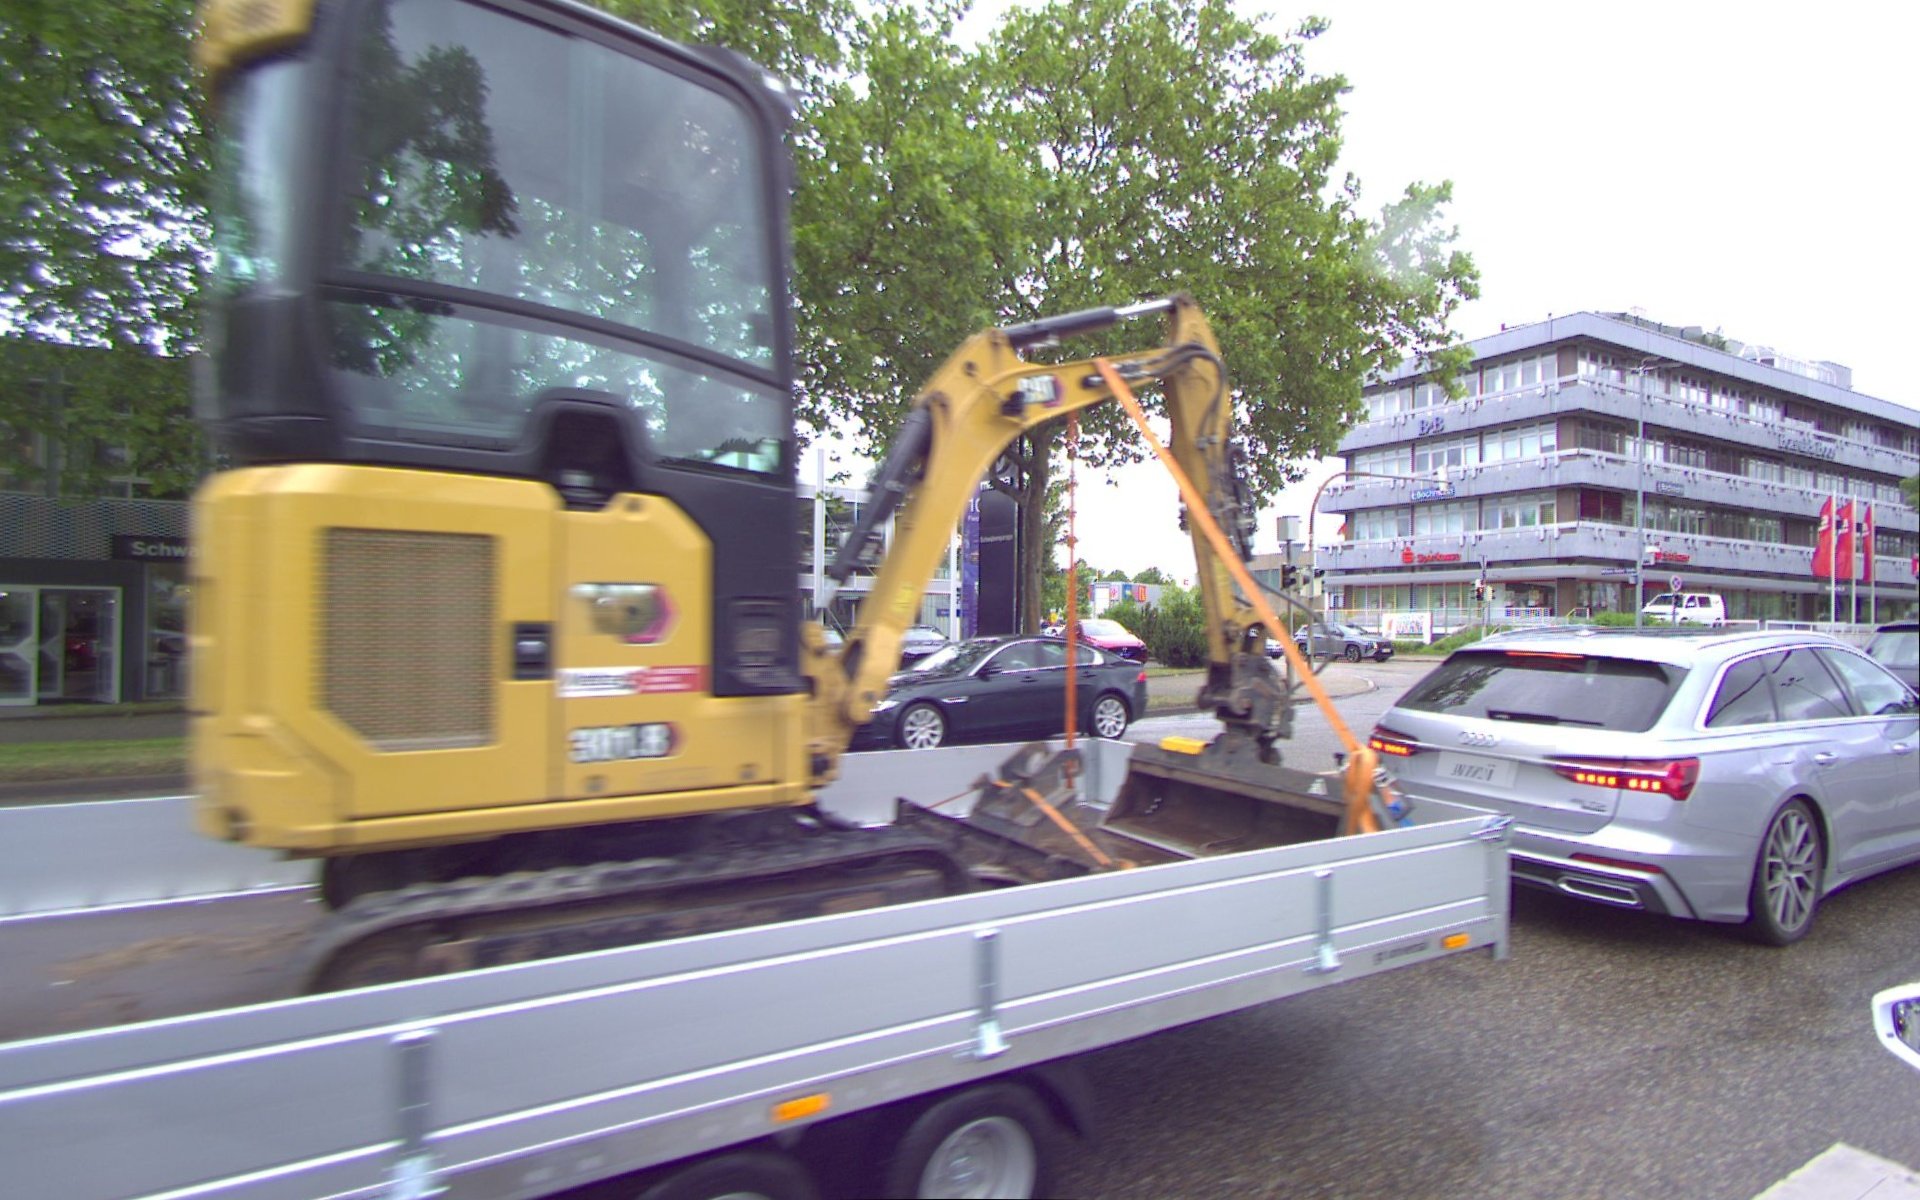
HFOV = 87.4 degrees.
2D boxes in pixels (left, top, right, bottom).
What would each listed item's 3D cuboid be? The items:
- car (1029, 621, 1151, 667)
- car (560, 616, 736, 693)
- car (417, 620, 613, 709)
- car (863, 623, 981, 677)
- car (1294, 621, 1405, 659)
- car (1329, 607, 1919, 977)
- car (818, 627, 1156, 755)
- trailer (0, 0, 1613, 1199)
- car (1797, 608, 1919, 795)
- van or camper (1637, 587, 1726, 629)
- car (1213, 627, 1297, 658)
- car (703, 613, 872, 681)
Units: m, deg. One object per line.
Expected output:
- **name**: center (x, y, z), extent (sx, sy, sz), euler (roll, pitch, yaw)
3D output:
- **car**: center (3.893, 1.314, 30.557), extent (1.673, 1.311, 3.717), euler (0, -2, -34)
- **car**: center (-7.503, 1.290, 24.055), extent (4.165, 1.674, 2.005), euler (-2, -3, 37)
- **car**: center (-9.633, 1.295, 21.623), extent (4.497, 1.617, 1.992), euler (1, -1, 38)
- **car**: center (-1.142, 1.356, 28.525), extent (1.673, 1.409, 3.717), euler (0, -1, -34)
- **car**: center (16.460, 1.647, 42.642), extent (1.857, 1.509, 4.128), euler (0, -1, -30)
- **car**: center (4.505, 0.813, 5.991), extent (4.724, 1.477, 1.757), euler (1, -1, -31)
- **car**: center (0.410, 1.084, 12.974), extent (4.128, 1.401, 1.702), euler (1, -3, -32)
- **trailer**: center (-0.858, -0.004, 2.785), extent (5.483, 2.935, 2.360), euler (1, -2, -32)
- **car**: center (9.507, 0.839, 9.099), extent (4.030, 1.509, 1.705), euler (1, -2, -31)
- **van or camper**: center (37.004, 0.416, 51.486), extent (4.733, 1.993, 1.984), euler (2, 0, -31)
- **car**: center (14.181, 2.023, 48.399), extent (1.856, 1.418, 3.671), euler (0, -1, -29)
- **car**: center (-4.490, 1.210, 25.913), extent (4.165, 1.617, 1.992), euler (-2, -2, 37)
